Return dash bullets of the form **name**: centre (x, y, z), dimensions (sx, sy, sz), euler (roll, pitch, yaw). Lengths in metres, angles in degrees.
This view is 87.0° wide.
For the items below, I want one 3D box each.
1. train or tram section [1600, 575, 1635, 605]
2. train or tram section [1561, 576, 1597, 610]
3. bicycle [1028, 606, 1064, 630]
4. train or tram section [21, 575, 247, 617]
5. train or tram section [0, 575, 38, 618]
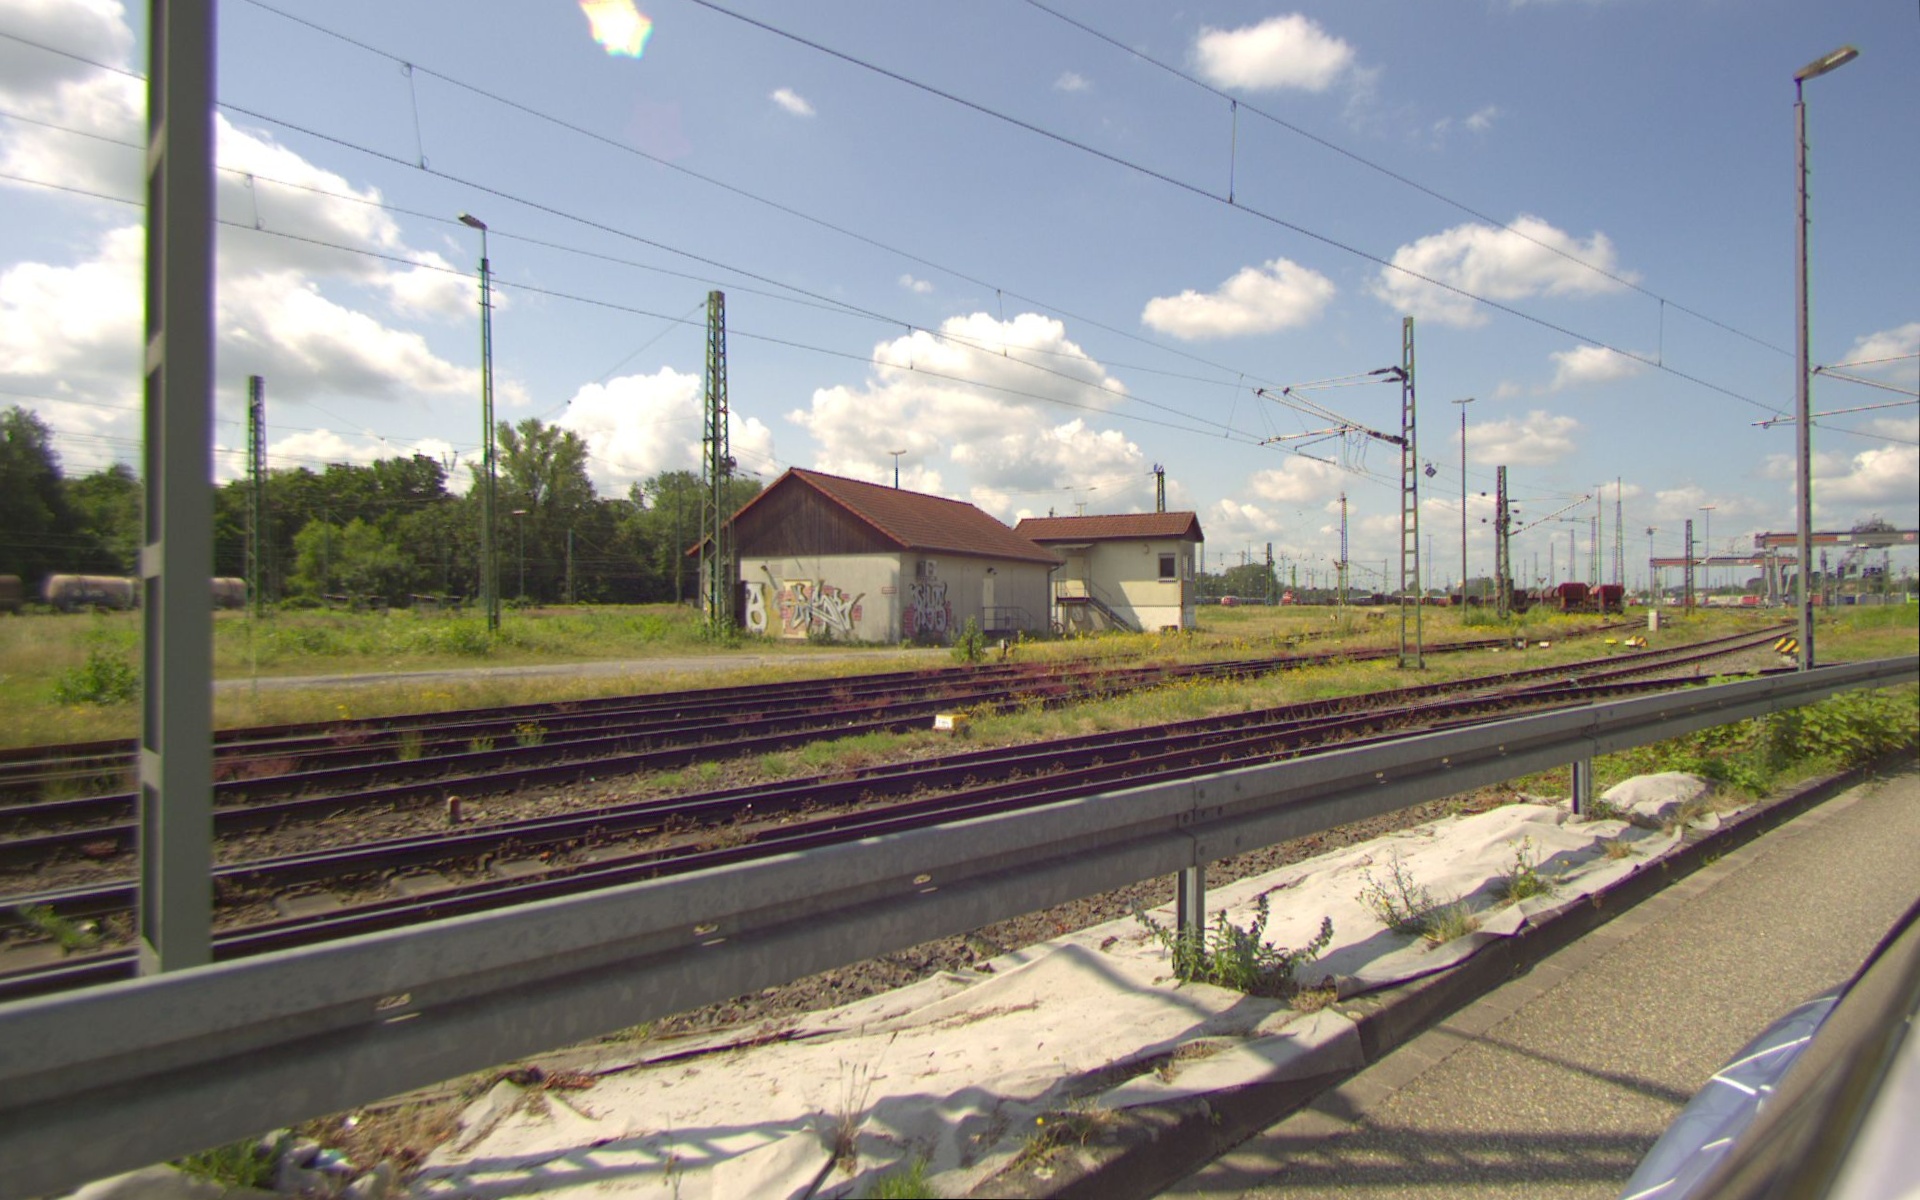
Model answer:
- **train or tram section**: centre (87.509, -1.244, 134.769), dimensions (3.178, 3.764, 12.417), euler (-1, 0, 30)
- **train or tram section**: centre (71.807, -0.734, 117.577), dimensions (3.274, 3.764, 12.417), euler (-1, 0, 30)
- **bicycle**: centre (4.452, 0.943, 52.402), dimensions (1.858, 1.219, 0.408), euler (0, -1, 31)
- **train or tram section**: centre (-72.098, -0.411, 89.170), dimensions (3.004, 3.346, 15.617), euler (-1, 0, 26)
- **train or tram section**: centre (-78.601, -0.191, 75.918), dimensions (3.004, 3.346, 13.813), euler (-1, 0, 26)
